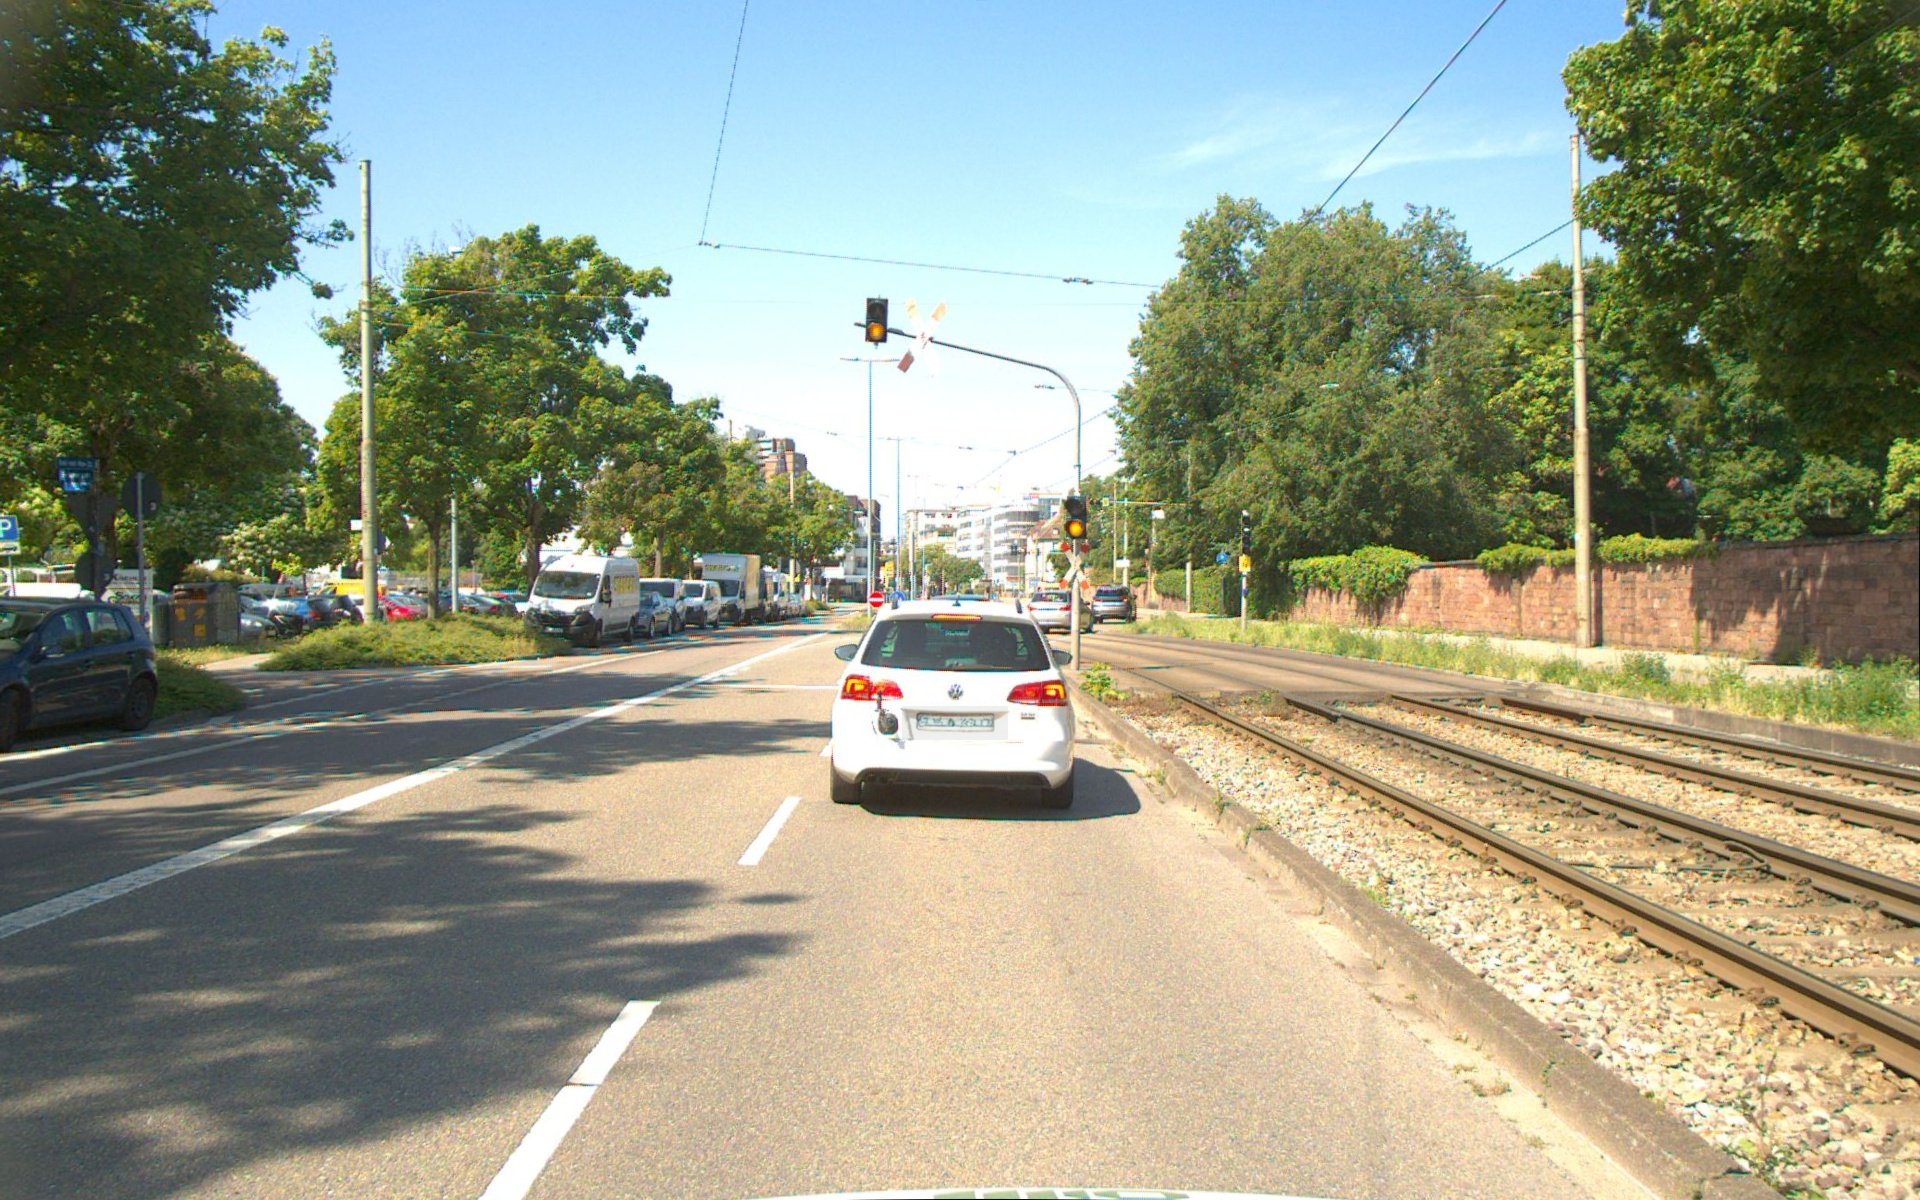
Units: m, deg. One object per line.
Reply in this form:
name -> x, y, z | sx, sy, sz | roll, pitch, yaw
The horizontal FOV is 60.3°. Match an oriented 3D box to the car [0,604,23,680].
car -> -20.183, 0.926, 31.271 | 3.821, 1.432, 1.752 | -3, 1, 0

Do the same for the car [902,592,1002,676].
car -> -0.095, 0.590, 30.953 | 1.710, 1.412, 3.914 | 2, 0, 1

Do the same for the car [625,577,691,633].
car -> -11.033, 0.150, 60.786 | 1.807, 1.971, 5.189 | 0, 0, -4

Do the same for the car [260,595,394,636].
car -> -21.796, 0.518, 57.012 | 3.904, 1.373, 1.772 | 0, 0, 2

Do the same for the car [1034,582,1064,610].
car -> 8.565, -0.385, 158.869 | 2.413, 2.542, 5.909 | 2, 0, -1

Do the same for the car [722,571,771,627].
car -> -10.712, -0.084, 83.401 | 1.806, 2.715, 5.003 | 0, 0, 0

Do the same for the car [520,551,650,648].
car -> -10.746, -0.047, 47.903 | 2.016, 2.544, 6.309 | 2, 1, 2

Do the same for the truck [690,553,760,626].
truck -> -10.711, -0.469, 75.933 | 2.308, 3.177, 6.890 | 0, 0, -1

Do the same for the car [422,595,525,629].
car -> -21.092, 0.519, 71.774 | 3.904, 1.426, 1.772 | 0, 0, 2

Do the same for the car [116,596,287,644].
car -> -21.024, 0.544, 45.927 | 3.906, 1.246, 1.771 | 0, 0, -2

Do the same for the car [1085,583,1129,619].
car -> 6.647, 0.037, 75.024 | 1.822, 1.539, 3.915 | 2, 0, 4

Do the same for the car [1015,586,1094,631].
car -> 3.336, 0.280, 57.396 | 1.822, 1.441, 4.328 | 2, 0, 16

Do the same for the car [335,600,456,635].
car -> -21.180, 0.645, 62.107 | 3.904, 1.246, 1.772 | 0, 0, 2

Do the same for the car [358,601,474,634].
car -> -21.242, 0.672, 64.682 | 3.904, 1.246, 1.772 | 0, 0, 2

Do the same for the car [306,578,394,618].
car -> -33.974, -0.115, 92.170 | 4.175, 2.049, 1.997 | 2, -1, -7

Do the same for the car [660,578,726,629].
car -> -10.821, 0.124, 67.331 | 1.806, 1.995, 5.134 | 0, 0, 0

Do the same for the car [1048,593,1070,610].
car -> 8.137, 0.136, 136.596 | 1.549, 1.370, 3.453 | 2, 0, -1

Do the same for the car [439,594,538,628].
car -> -21.149, 0.485, 74.276 | 3.904, 1.469, 1.772 | 0, 0, 2

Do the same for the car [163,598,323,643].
car -> -20.949, 0.580, 48.450 | 3.906, 1.246, 1.771 | 0, 0, -2

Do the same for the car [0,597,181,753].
car -> -10.218, 0.735, 17.883 | 1.608, 1.476, 4.004 | 2, 0, 1

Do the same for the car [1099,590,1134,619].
car -> 8.255, 0.223, 87.361 | 1.709, 1.432, 3.915 | 2, 0, 4

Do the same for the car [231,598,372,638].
car -> -21.632, 0.592, 54.392 | 3.904, 1.246, 1.772 | 0, 0, 2

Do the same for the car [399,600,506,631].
car -> -21.194, 0.635, 69.137 | 3.904, 1.246, 1.772 | 0, 0, 2

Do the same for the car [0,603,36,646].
car -> -34.030, 0.758, 56.818 | 3.694, 1.380, 1.558 | 3, 1, 3

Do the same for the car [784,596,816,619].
car -> -10.799, 0.489, 111.878 | 1.744, 1.458, 4.037 | 0, 0, 0

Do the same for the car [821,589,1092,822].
car -> -0.060, 0.680, 12.780 | 1.732, 1.471, 3.912 | 2, 0, -1

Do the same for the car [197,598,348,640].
car -> -21.248, 0.576, 51.205 | 3.904, 1.246, 1.772 | 0, 0, 2

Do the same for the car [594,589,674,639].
car -> -10.631, 0.421, 54.130 | 1.806, 1.543, 4.196 | 0, 0, 0

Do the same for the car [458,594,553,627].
car -> -21.086, 0.464, 76.822 | 3.904, 1.469, 1.772 | 0, 0, 2

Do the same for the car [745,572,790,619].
car -> -10.698, -0.274, 92.121 | 1.806, 2.538, 5.856 | 0, 0, 0

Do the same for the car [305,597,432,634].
car -> -21.259, 0.551, 59.511 | 3.904, 1.286, 1.772 | 0, 0, 2

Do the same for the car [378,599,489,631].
car -> -21.298, 0.602, 67.017 | 3.904, 1.246, 1.772 | 0, 0, 2

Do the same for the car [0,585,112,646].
car -> -33.326, 0.525, 59.367 | 4.602, 2.049, 1.998 | 2, -1, -6

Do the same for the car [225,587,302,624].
car -> -36.642, 0.292, 87.043 | 3.354, 1.909, 1.552 | 0, 0, -2
